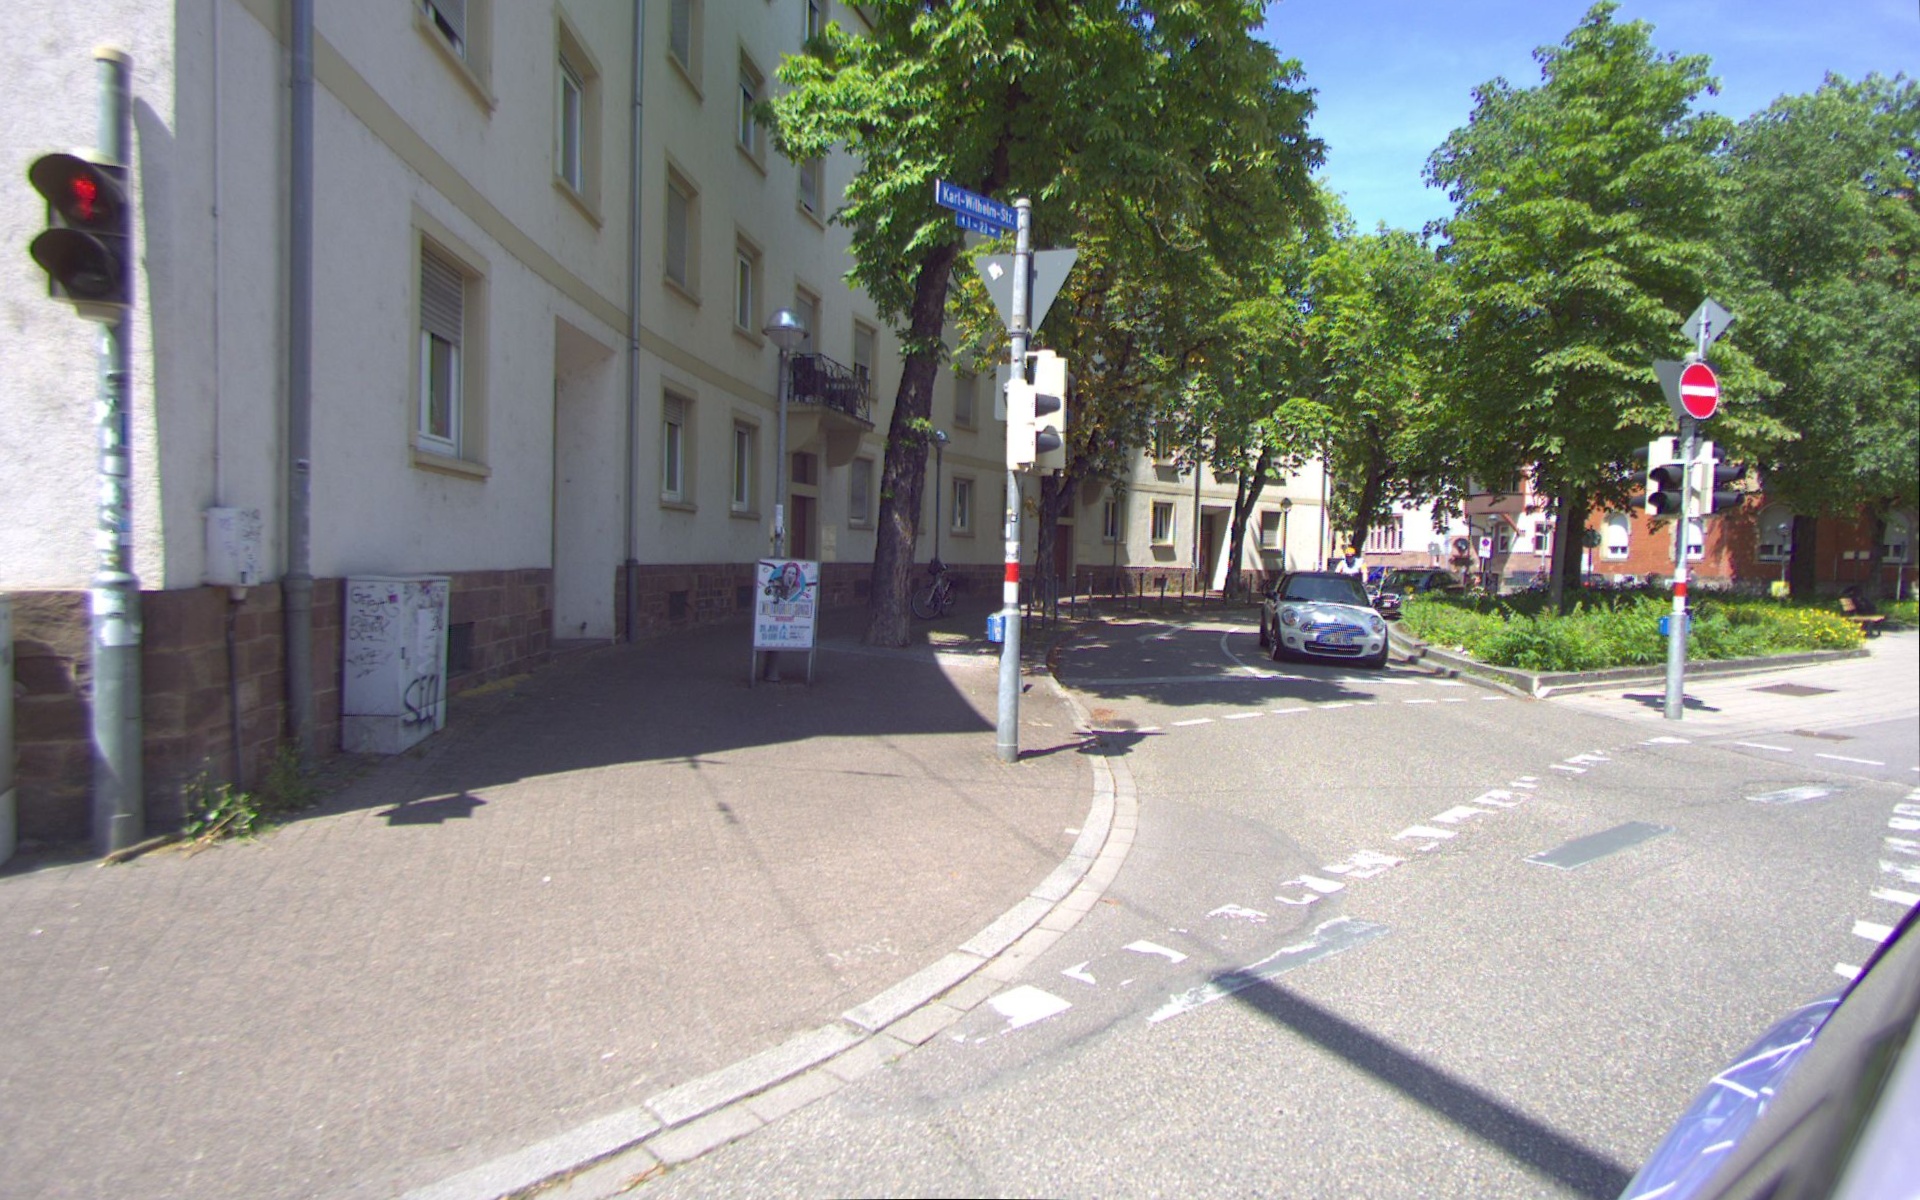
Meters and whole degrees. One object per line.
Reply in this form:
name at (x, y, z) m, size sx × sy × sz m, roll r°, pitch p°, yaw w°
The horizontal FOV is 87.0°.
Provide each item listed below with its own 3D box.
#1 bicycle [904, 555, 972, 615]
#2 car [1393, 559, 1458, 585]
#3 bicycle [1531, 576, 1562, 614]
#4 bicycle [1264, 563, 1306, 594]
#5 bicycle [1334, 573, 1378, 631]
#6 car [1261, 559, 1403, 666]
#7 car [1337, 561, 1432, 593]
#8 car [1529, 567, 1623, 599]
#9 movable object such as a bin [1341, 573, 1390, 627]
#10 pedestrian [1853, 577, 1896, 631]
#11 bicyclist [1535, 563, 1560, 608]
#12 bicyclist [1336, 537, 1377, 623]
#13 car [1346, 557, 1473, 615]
bicycle at (-0.430, -0.323, 20.730) m, size 0.634 × 1.169 × 1.789 m, roll 2°, pitch 2°, yaw 25°
car at (30.063, -1.823, 65.534) m, size 1.669 × 1.582 × 4.254 m, roll 1°, pitch 2°, yaw -10°
bicycle at (21.493, -0.197, 37.061) m, size 0.637 × 1.309 × 1.903 m, roll 3°, pitch 3°, yaw 39°
bicycle at (12.421, -0.819, 38.709) m, size 1.898 × 1.169 × 0.515 m, roll 0°, pitch 2°, yaw -38°
bicycle at (8.545, 0.023, 21.821) m, size 0.675 × 1.169 × 1.787 m, roll 2°, pitch 2°, yaw 27°
car at (5.975, 0.111, 16.652) m, size 1.671 × 1.463 × 3.613 m, roll 4°, pitch 3°, yaw 13°
car at (22.084, -1.204, 52.716) m, size 4.230 × 1.582 × 1.648 m, roll 1°, pitch 2°, yaw -8°
car at (31.651, -0.910, 52.133) m, size 1.611 × 1.470 × 4.328 m, roll 1°, pitch 2°, yaw -10°
movable object such as a bin at (9.386, -0.032, 23.368) m, size 0.860 × 1.169 × 1.748 m, roll 2°, pitch 2°, yaw 27°
pedestrian at (20.491, 0.076, 22.686) m, size 0.633 × 1.164 × 0.650 m, roll -1°, pitch 2°, yaw -45°
bicyclist at (21.515, -0.537, 37.058) m, size 0.637 × 1.643 × 0.850 m, roll 3°, pitch 2°, yaw 40°
bicyclist at (8.551, -0.441, 21.796) m, size 0.692 × 1.788 × 0.856 m, roll 2°, pitch 2°, yaw 27°
car at (13.149, -0.426, 29.543) m, size 3.991 × 1.582 × 1.614 m, roll -1°, pitch 3°, yaw -37°
